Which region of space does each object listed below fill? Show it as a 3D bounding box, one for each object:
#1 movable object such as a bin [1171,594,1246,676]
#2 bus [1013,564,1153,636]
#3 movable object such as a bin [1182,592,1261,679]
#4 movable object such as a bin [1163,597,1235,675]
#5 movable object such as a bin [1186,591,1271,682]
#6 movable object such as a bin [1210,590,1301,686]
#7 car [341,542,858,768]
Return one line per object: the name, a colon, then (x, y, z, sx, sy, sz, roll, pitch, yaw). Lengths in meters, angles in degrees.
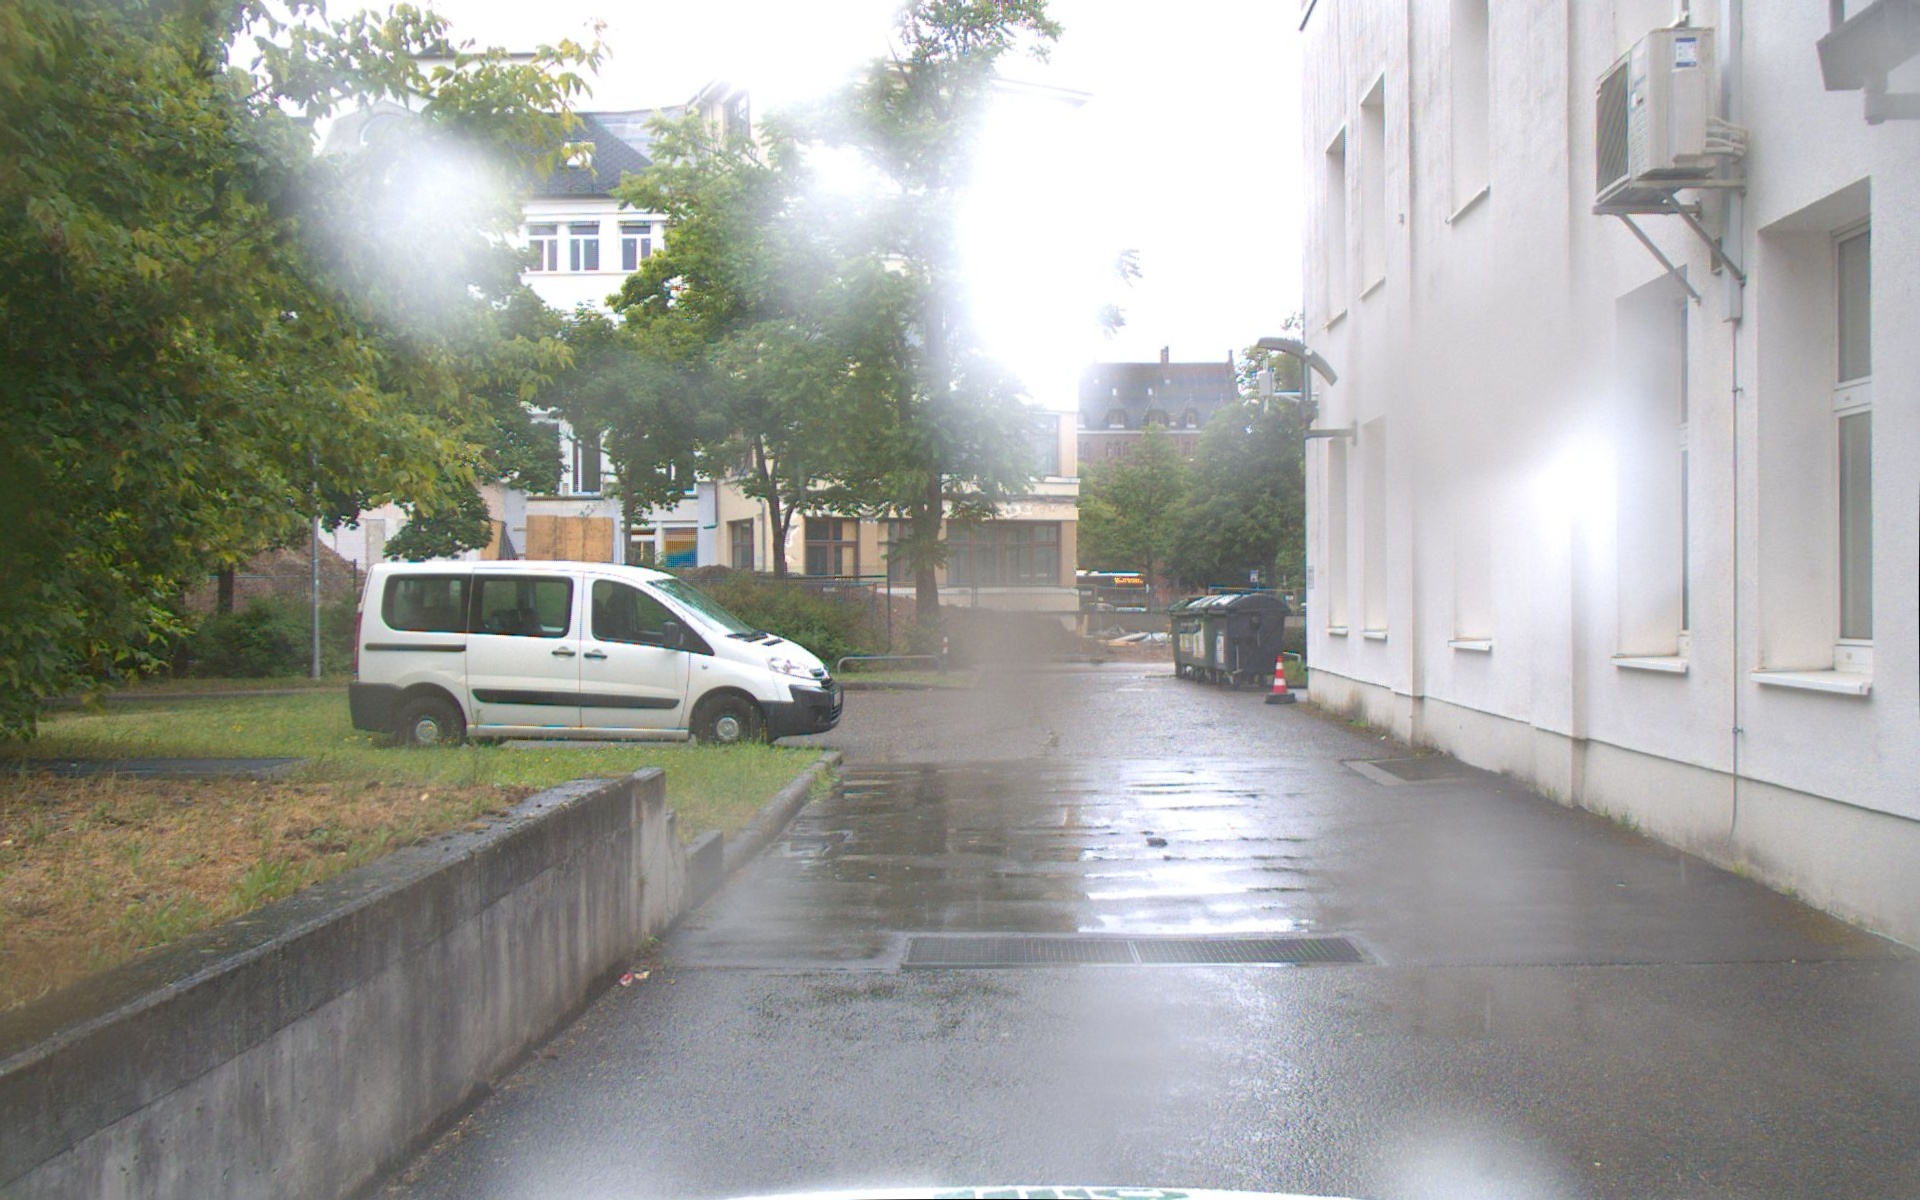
movable object such as a bin: (4.553, 0.652, 30.401, 1.189, 1.462, 1.259, 0, -2, 0)
bus: (7.301, 0.139, 101.016, 2.774, 3.942, 11.949, 1, -3, -27)
movable object such as a bin: (4.566, 0.634, 29.023, 1.190, 1.494, 1.235, 0, -2, 0)
movable object such as a bin: (4.578, 0.706, 31.779, 1.189, 1.462, 1.259, 0, -2, 0)
movable object such as a bin: (4.428, 0.613, 27.393, 1.189, 1.462, 1.294, 0, -2, 0)
movable object such as a bin: (4.566, 0.599, 25.696, 1.190, 1.462, 1.235, 0, -2, 0)
car: (-3.504, 0.523, 16.690, 4.680, 2.049, 2.001, -1, 0, 3)
